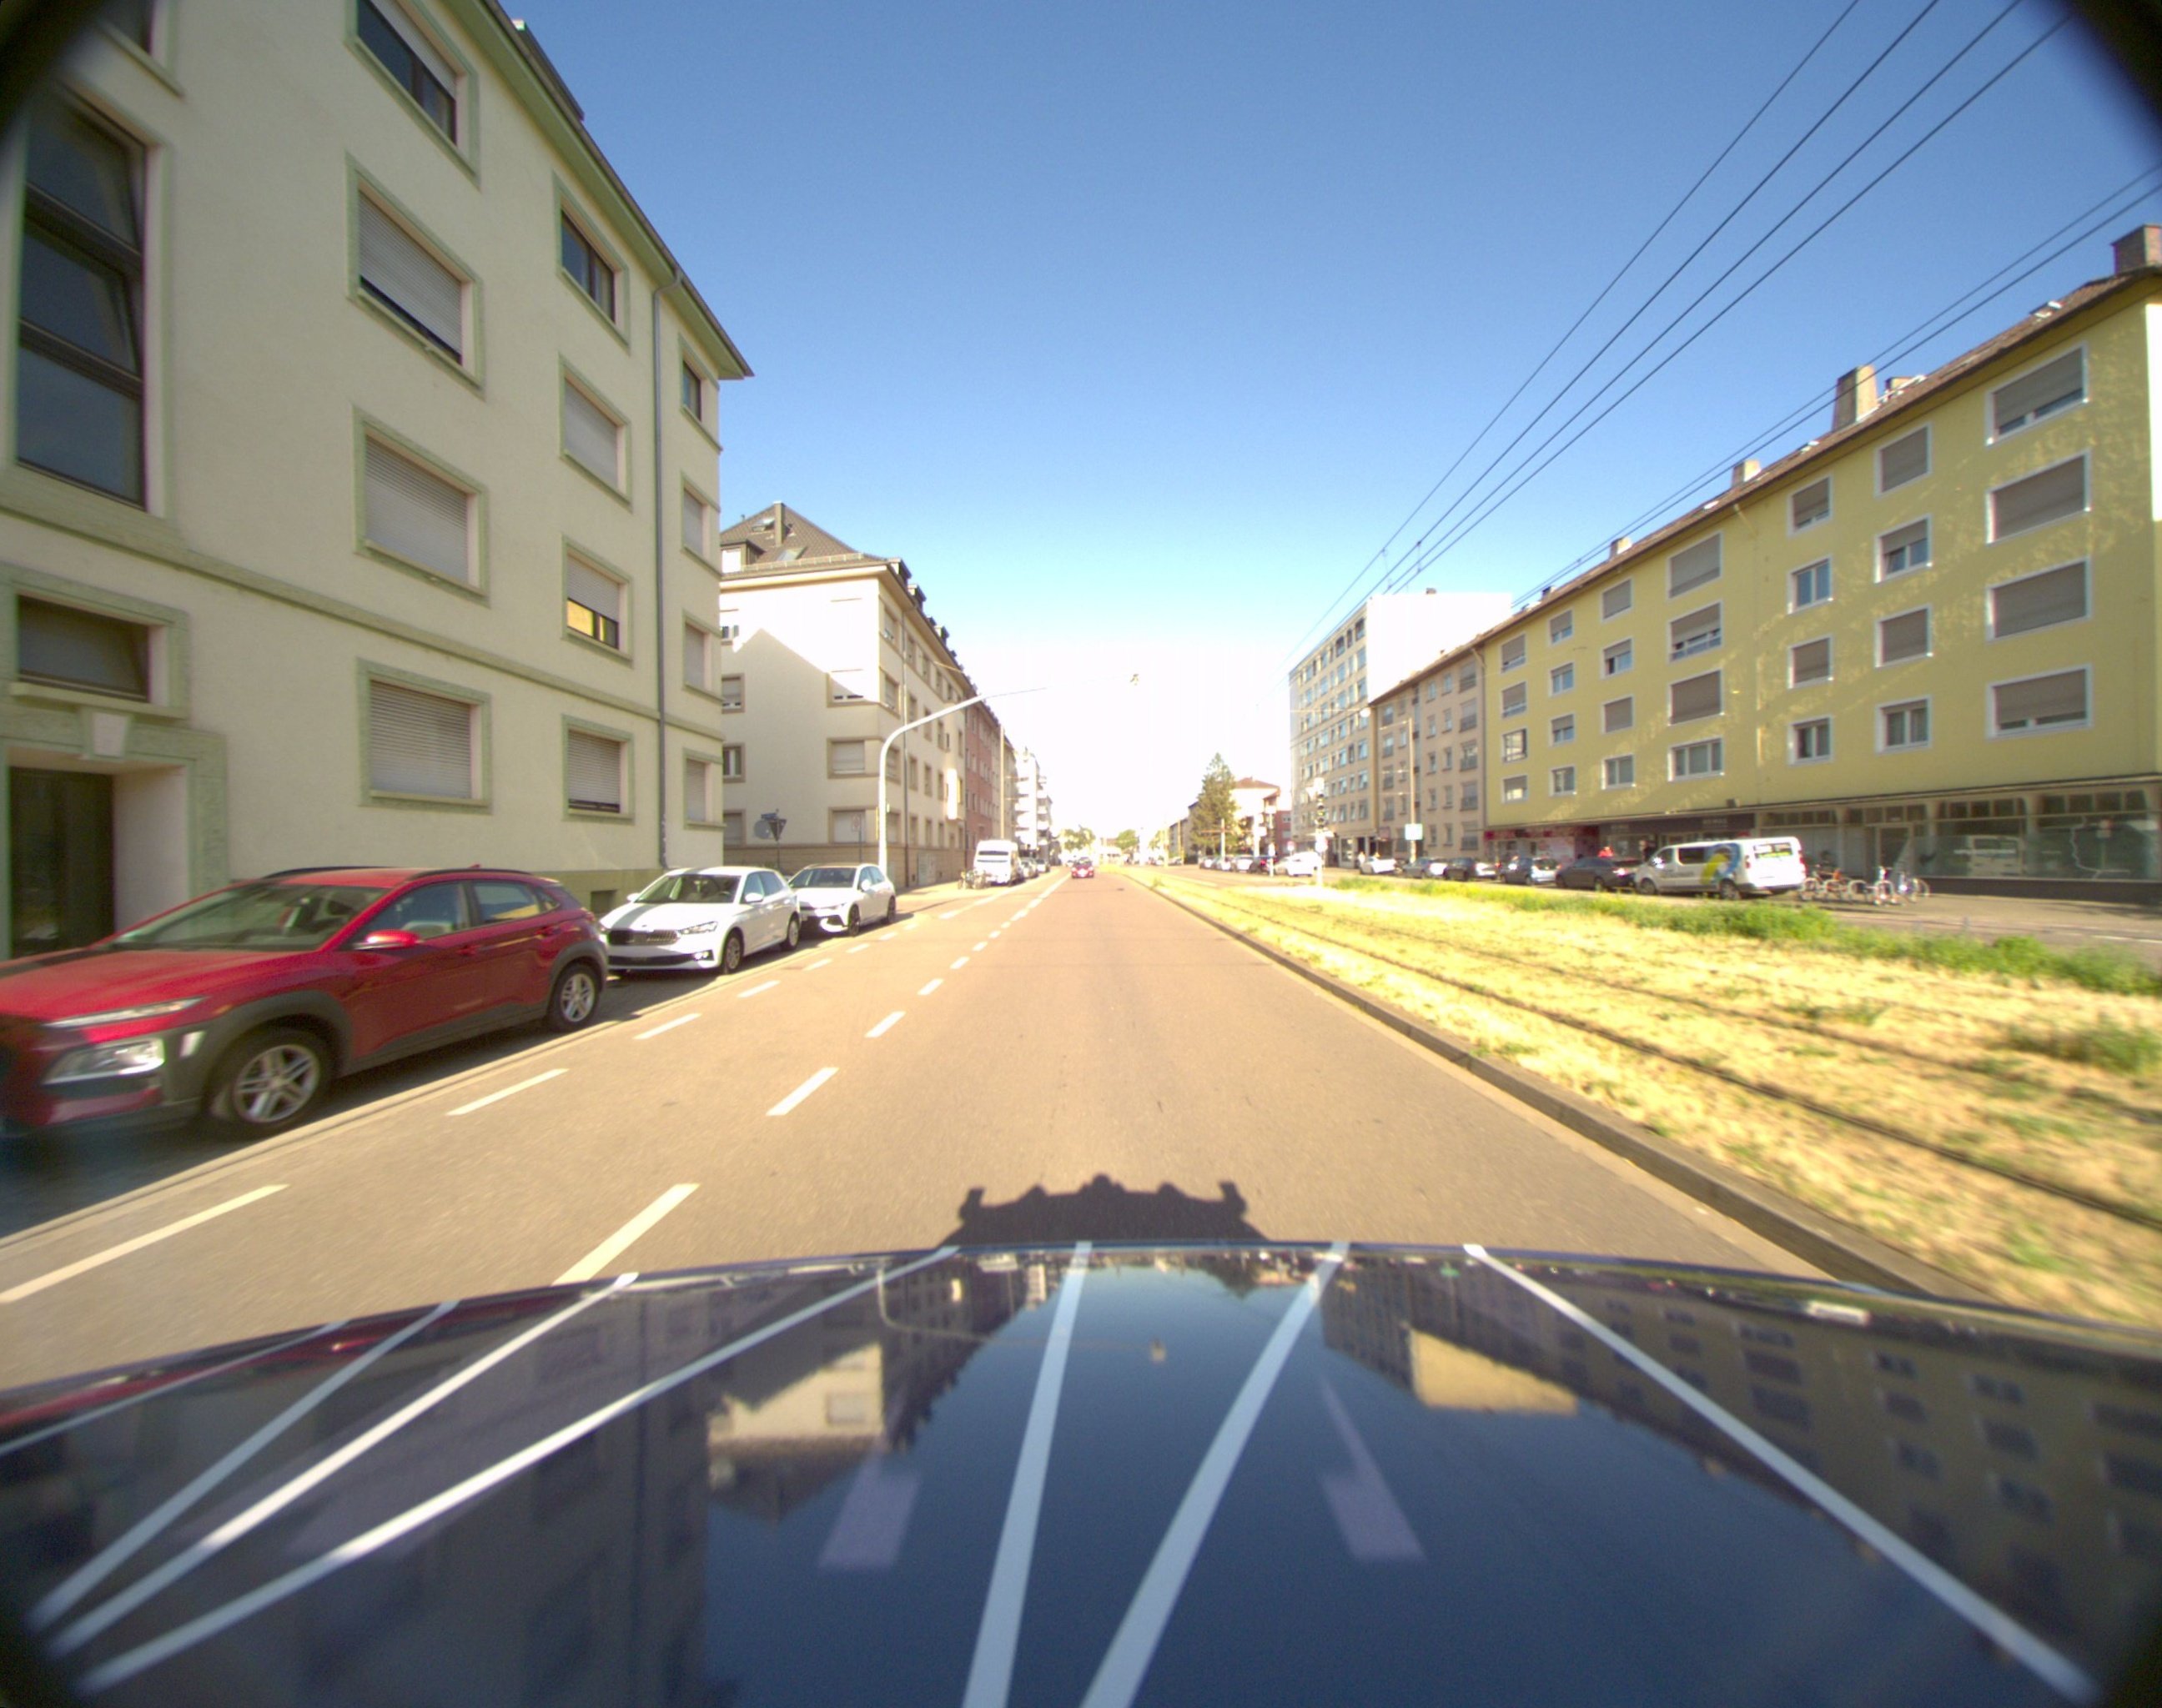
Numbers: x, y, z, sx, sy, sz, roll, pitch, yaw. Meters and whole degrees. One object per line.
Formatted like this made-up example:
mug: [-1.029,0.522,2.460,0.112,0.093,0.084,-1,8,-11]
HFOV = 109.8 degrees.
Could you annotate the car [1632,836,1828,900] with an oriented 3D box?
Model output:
car: [22.639,0.456,26.902,1.999,1.938,5.499,-3,0,-2]

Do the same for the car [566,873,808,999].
car: [-5.540,1.047,11.322,1.640,1.450,4.080,0,0,-3]

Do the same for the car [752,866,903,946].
car: [-5.281,1.012,16.463,1.698,1.450,4.379,0,0,1]

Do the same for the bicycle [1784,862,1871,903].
bicycle: [22.691,0.871,23.116,2.103,1.099,0.472,-3,0,1]

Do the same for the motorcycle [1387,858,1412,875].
motorcycle: [22.612,0.887,53.937,2.115,1.132,0.486,-3,0,-32]

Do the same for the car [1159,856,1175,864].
car: [17.451,1.125,153.679,1.718,1.379,3.720,-3,0,32]

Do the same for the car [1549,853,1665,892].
car: [22.538,0.763,32.803,1.787,1.465,4.596,-3,0,1]

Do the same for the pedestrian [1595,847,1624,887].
pedestrian: [24.126,0.584,34.701,0.672,1.733,0.845,-3,0,1]

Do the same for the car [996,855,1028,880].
car: [-4.521,0.867,50.330,1.852,1.627,4.574,0,0,-1]

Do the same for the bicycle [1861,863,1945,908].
bicycle: [22.601,0.863,20.898,1.824,1.099,0.390,-3,0,1]

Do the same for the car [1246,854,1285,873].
car: [14.938,0.761,61.843,1.788,1.519,4.413,0,0,-4]

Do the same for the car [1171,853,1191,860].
car: [21.394,0.570,162.967,3.997,1.324,1.738,0,0,0]

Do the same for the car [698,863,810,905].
car: [-13.054,1.196,30.444,3.735,1.416,1.714,-3,0,11]

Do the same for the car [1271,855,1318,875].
car: [15.460,0.799,55.161,1.839,1.377,4.413,0,0,-5]

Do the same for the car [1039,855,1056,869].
car: [-3.609,0.840,81.466,1.762,1.543,2.649,1,0,-1]

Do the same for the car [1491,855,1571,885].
car: [22.760,0.768,38.558,1.787,1.377,3.768,-3,0,1]

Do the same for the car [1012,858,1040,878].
car: [-4.194,1.033,58.614,1.625,1.452,4.055,2,0,2]

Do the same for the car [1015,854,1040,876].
car: [-4.450,0.885,63.801,1.806,1.687,4.490,2,0,-1]

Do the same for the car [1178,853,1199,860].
car: [22.361,0.573,157.944,3.997,1.324,1.738,0,0,0]

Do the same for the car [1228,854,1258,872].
car: [14.699,0.834,69.100,1.787,1.572,4.608,0,0,0]

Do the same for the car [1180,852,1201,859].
car: [21.926,0.295,152.782,3.997,1.324,1.738,0,0,0]

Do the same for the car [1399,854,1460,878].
car: [22.582,0.760,49.472,1.787,1.377,4.414,-3,0,-1]

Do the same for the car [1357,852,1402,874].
car: [22.741,0.661,58.031,1.763,1.477,4.200,-3,0,1]

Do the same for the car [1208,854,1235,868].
car: [15.414,0.754,83.397,1.999,1.541,4.366,1,0,-1]

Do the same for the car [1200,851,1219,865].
car: [15.122,0.488,89.503,1.617,1.550,4.000,1,0,0]

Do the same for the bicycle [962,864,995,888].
bicycle: [-5.018,1.086,37.287,1.912,1.081,0.474,1,4,44]

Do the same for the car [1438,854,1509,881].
car: [22.693,0.755,44.121,1.787,1.412,4.415,-3,0,1]

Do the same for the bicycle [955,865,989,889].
bicycle: [-5.207,1.073,36.163,1.912,1.080,0.475,1,-1,44]

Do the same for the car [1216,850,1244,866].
car: [14.898,0.384,76.278,1.861,1.541,4.240,1,0,-1]

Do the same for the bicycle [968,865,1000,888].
bicycle: [-4.887,1.158,38.202,0.487,1.080,2.023,-4,0,-42]

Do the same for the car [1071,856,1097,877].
car: [0.242,0.889,55.693,1.862,1.461,3.809,0,0,1]

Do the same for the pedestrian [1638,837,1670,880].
pedestrian: [25.619,0.212,33.991,0.672,1.849,0.924,-3,0,1]

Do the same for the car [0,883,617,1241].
car: [-5.563,1.035,5.599,1.639,1.508,4.189,0,0,1]

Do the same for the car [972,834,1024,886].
car: [-4.594,0.307,43.070,2.156,2.680,6.292,1,0,1]

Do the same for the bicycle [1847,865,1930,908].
bicycle: [22.625,0.910,21.306,1.824,1.099,0.390,-3,0,1]

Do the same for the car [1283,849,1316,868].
car: [23.077,0.480,80.300,1.999,1.887,4.669,-3,0,-1]
